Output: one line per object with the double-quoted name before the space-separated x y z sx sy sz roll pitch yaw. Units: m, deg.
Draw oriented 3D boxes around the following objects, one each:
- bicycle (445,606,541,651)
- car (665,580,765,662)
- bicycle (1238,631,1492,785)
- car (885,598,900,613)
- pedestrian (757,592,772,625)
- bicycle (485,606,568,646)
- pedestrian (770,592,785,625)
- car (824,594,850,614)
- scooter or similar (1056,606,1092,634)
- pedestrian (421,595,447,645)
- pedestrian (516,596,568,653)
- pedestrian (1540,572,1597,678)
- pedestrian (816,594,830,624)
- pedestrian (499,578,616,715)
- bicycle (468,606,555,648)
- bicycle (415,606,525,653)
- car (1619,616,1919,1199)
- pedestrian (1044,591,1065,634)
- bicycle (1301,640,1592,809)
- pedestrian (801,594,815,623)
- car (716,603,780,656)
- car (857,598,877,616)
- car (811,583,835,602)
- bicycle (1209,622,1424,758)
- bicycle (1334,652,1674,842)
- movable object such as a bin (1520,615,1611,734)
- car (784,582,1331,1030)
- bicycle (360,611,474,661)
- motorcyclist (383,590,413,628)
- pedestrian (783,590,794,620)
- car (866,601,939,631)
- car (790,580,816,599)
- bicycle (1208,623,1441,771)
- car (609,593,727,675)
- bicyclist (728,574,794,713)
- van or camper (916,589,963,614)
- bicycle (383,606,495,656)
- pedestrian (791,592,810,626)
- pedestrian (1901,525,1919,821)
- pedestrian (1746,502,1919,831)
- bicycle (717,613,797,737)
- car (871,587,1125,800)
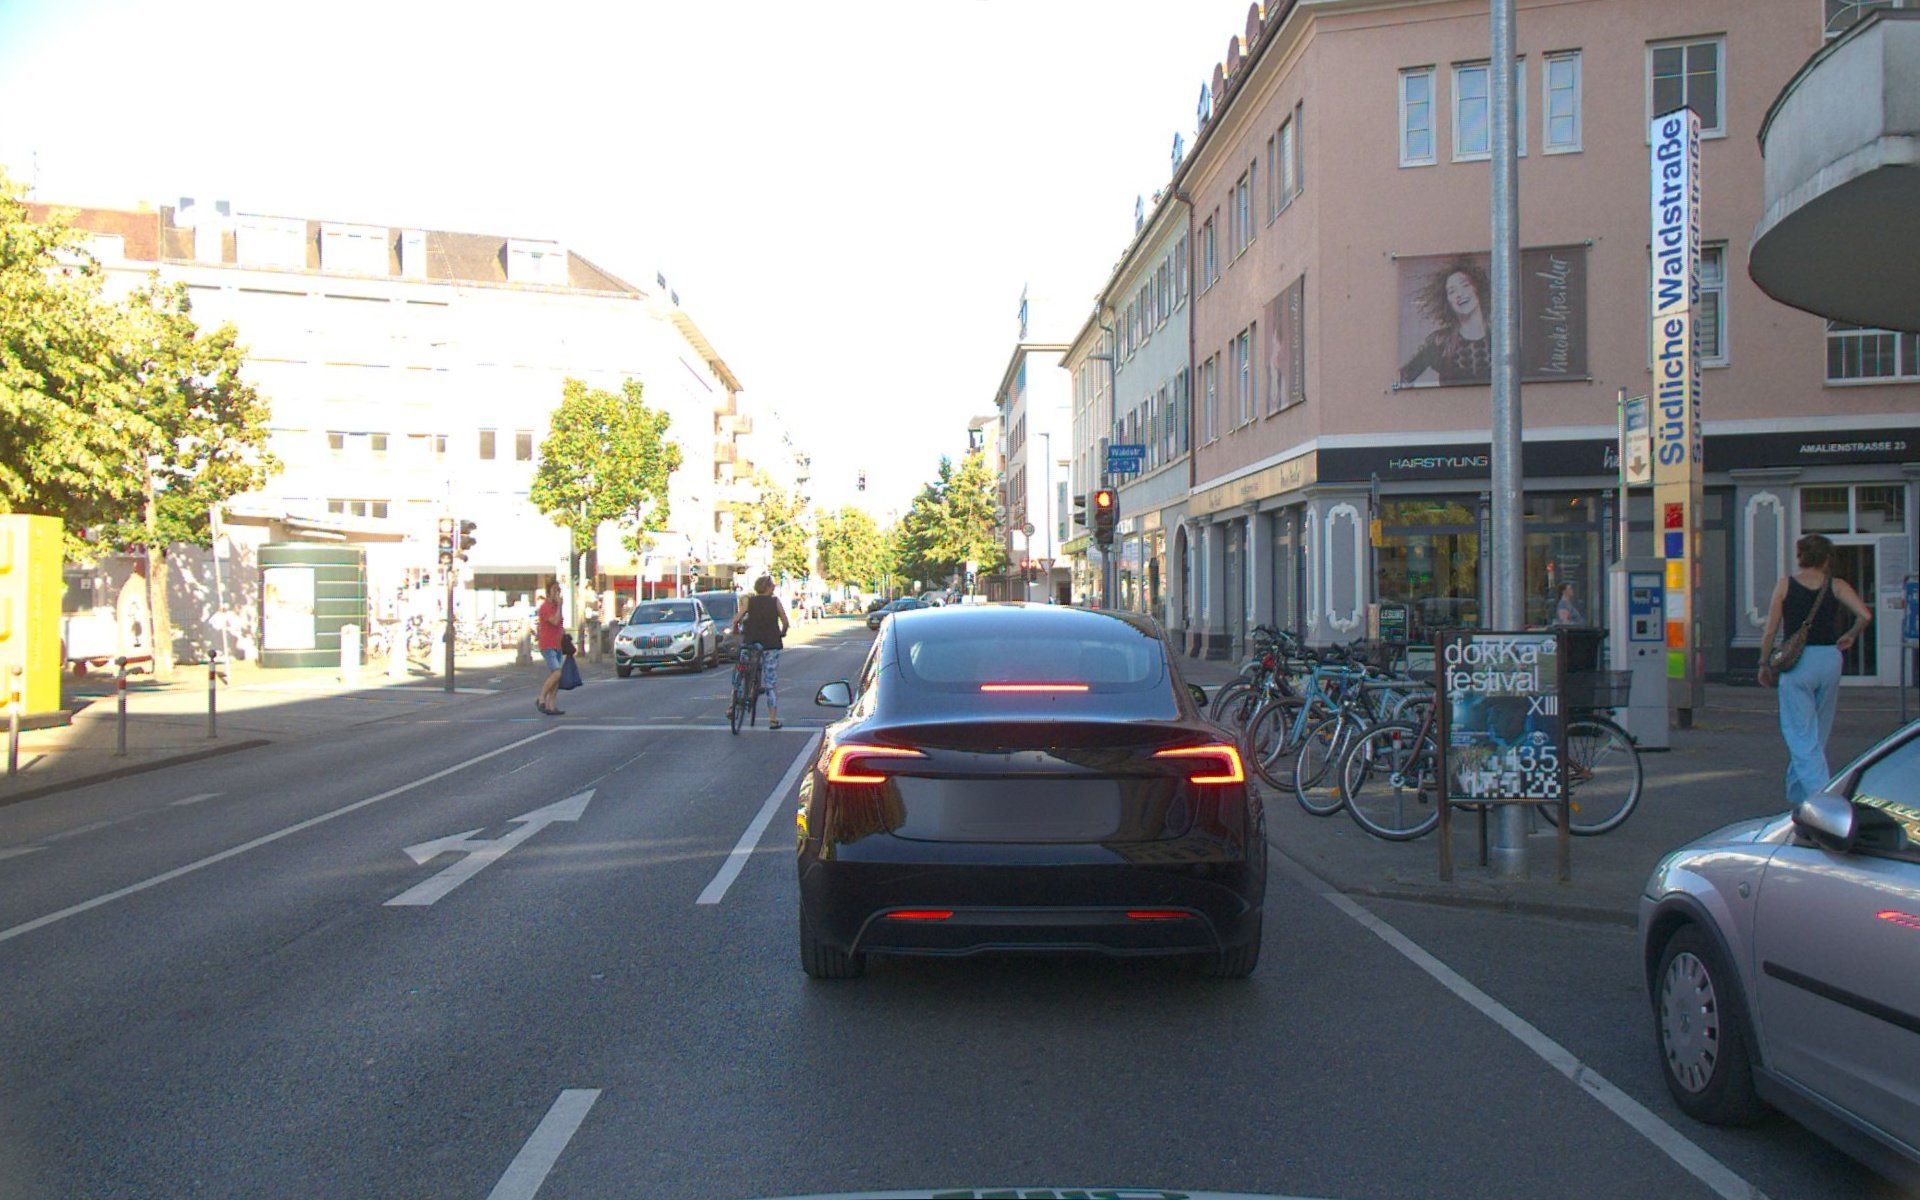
"bicycle" -14.007 0.846 49.631 2.609 1.281 0.942 1 0 -4
"car" -6.229 0.506 42.552 1.906 1.981 4.819 0 0 -1
"bicycle" 3.049 0.805 12.553 1.776 1.121 0.653 0 0 0
"car" -8.637 0.651 210.428 1.854 1.845 3.923 1 0 -2
"pedestrian" -11.470 0.478 96.793 0.721 1.900 0.787 1 -1 -17
"bicycle" -14.225 0.858 54.327 2.491 1.273 0.942 1 0 -4
"pedestrian" -10.690 0.492 96.942 0.721 1.900 0.787 1 -1 -17
"car" -12.335 0.388 166.250 2.365 2.004 4.677 0 0 -1
"scooter or similar" 4.877 0.849 70.683 1.317 1.154 0.803 1 -1 -25
"pedestrian" -19.078 0.720 60.015 0.830 1.790 0.704 1 -1 -15
"pedestrian" -12.235 0.704 48.457 1.069 1.639 1.267 1 0 6
"pedestrian" 9.207 0.373 25.020 0.707 1.576 0.791 1 -1 27
"pedestrian" -8.731 0.560 105.314 0.761 1.900 1.006 1 -1 -12
"pedestrian" -5.352 0.605 22.056 1.086 1.750 1.062 1 -1 19
"bicycle" -14.059 0.850 51.905 2.491 1.273 0.942 1 0 -4
"bicycle" -13.998 0.831 47.312 2.818 1.292 0.942 1 0 -4
"car" 2.920 0.782 3.524 1.551 1.451 3.579 1 0 -1
"pedestrian" 4.001 0.525 70.236 0.649 1.790 0.649 1 -1 -24
"bicycle" 3.249 0.822 11.149 1.776 1.078 0.653 0 0 0
"pedestrian" -10.048 0.554 109.207 0.684 1.900 0.905 1 -1 -18
"car" -6.333 0.853 49.679 1.431 1.455 3.605 -3 0 -1
"car" -10.490 0.820 186.954 2.089 2.004 4.133 0 0 -1
"car" -15.590 -0.825 188.050 2.228 2.049 4.717 1 0 0
"bicycle" 3.162 0.791 14.763 1.776 1.172 0.653 0 0 0
"bicycle" 3.278 0.875 10.078 1.844 1.062 0.653 -1 0 0
"movable object such as a bin" 6.042 0.731 16.528 0.623 1.122 0.728 -2 0 3
"car" 0.299 0.701 7.758 1.812 1.472 4.450 1 0 -1
"bicycle" -13.948 0.926 42.574 2.607 1.216 0.942 1 0 -4
"motorcyclist" -24.627 0.400 72.513 1.098 1.662 0.768 1 -1 -30
"pedestrian" -10.761 0.309 103.702 0.681 1.900 0.658 1 -1 -6
"car" -2.783 0.773 80.818 1.663 1.414 3.905 1 0 33
"car" -17.007 -1.137 179.394 2.228 2.049 4.717 1 0 0
"bicycle" 2.978 0.783 13.626 1.776 1.172 0.653 0 0 0
"car" -6.321 0.711 36.224 1.788 1.592 4.299 -4 0 -1
"bicyclist" -2.225 0.481 18.581 0.594 1.510 0.958 1 0 0
"van or camper" -2.058 0.162 167.507 4.752 2.481 1.850 0 0 -1
"bicycle" -14.122 0.844 44.911 2.725 1.296 0.932 1 0 -4
"pedestrian" -9.111 0.509 94.330 0.719 1.900 0.790 1 -1 28
"pedestrian" 6.032 0.432 9.667 0.706 1.785 0.788 -3 -1 18
"pedestrian" 5.269 0.391 10.040 0.666 1.882 0.894 -3 -1 16
"bicycle" -2.241 0.799 18.469 0.615 1.244 2.001 1 1 0
"car" 0.243 0.686 14.182 1.812 1.507 4.450 1 0 -1
